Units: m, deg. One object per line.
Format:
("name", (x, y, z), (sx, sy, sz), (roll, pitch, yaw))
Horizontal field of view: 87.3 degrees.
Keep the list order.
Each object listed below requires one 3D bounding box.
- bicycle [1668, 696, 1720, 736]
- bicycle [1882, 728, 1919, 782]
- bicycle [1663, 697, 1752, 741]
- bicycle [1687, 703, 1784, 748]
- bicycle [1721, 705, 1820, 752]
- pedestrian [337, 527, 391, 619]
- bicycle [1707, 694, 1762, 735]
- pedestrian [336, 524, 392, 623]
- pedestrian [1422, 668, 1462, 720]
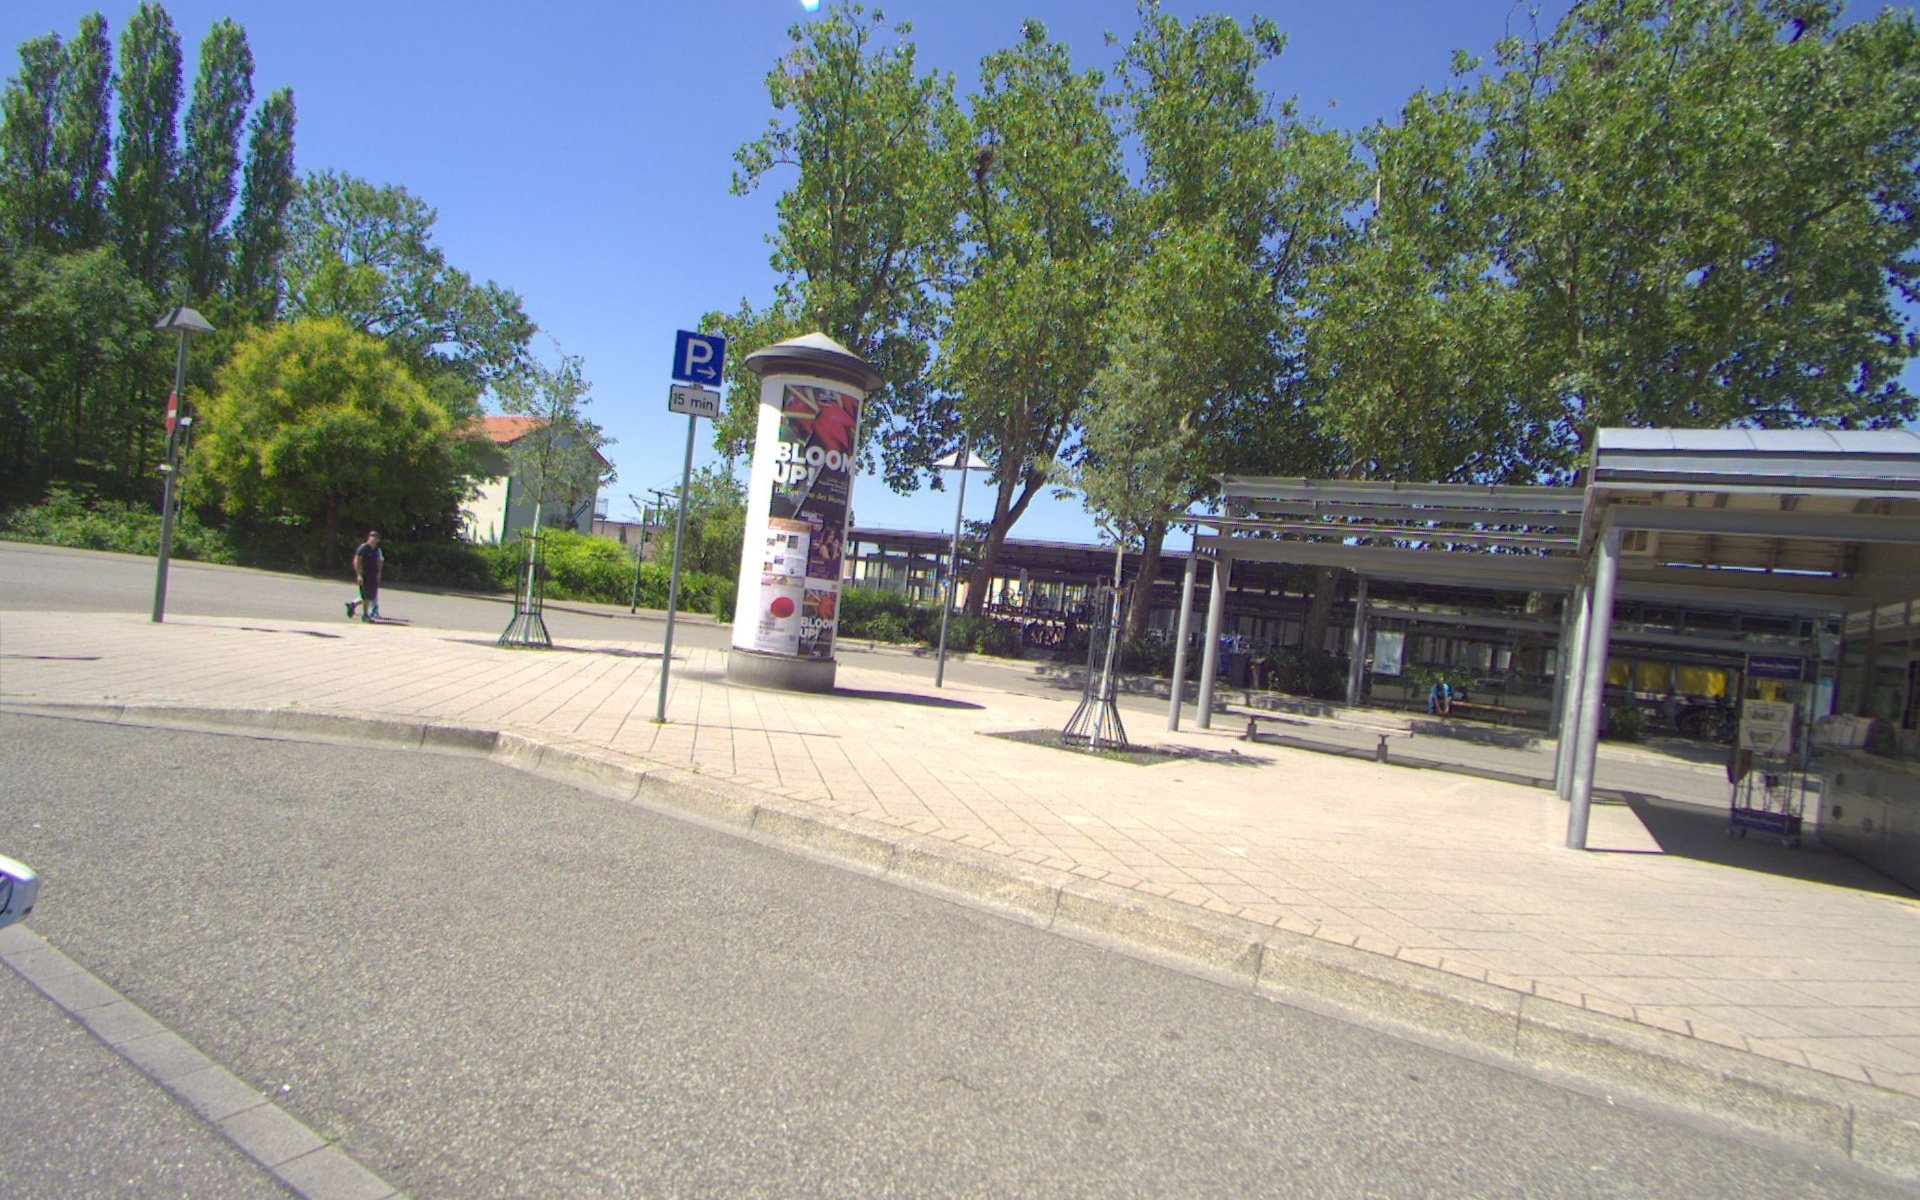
("bicycle", (23.543, 3.702, 32.297), (0.658, 1.087, 2.169), (3, -1, 18))
("bicycle", (23.261, 3.778, 24.463), (0.659, 1.087, 2.165), (3, 0, 28))
("bicycle", (22.910, 3.627, 30.883), (2.137, 1.087, 0.668), (3, 0, 36))
("bicycle", (22.058, 3.571, 28.634), (2.128, 1.087, 0.670), (3, 0, 3))
("bicycle", (23.490, 3.716, 29.202), (2.137, 1.087, 0.668), (3, 0, 35))
("pedestrian", (-12.069, -0.547, 20.370), (0.670, 1.757, 0.905), (6, 1, -40))
("bicycle", (24.457, 3.589, 31.807), (0.658, 1.087, 2.169), (3, -1, 18))
("pedestrian", (-11.477, -0.519, 19.369), (0.689, 1.807, 0.906), (6, 0, -37))
("pedestrian", (13.273, 2.571, 27.700), (0.853, 1.291, 0.830), (7, 0, 28))
